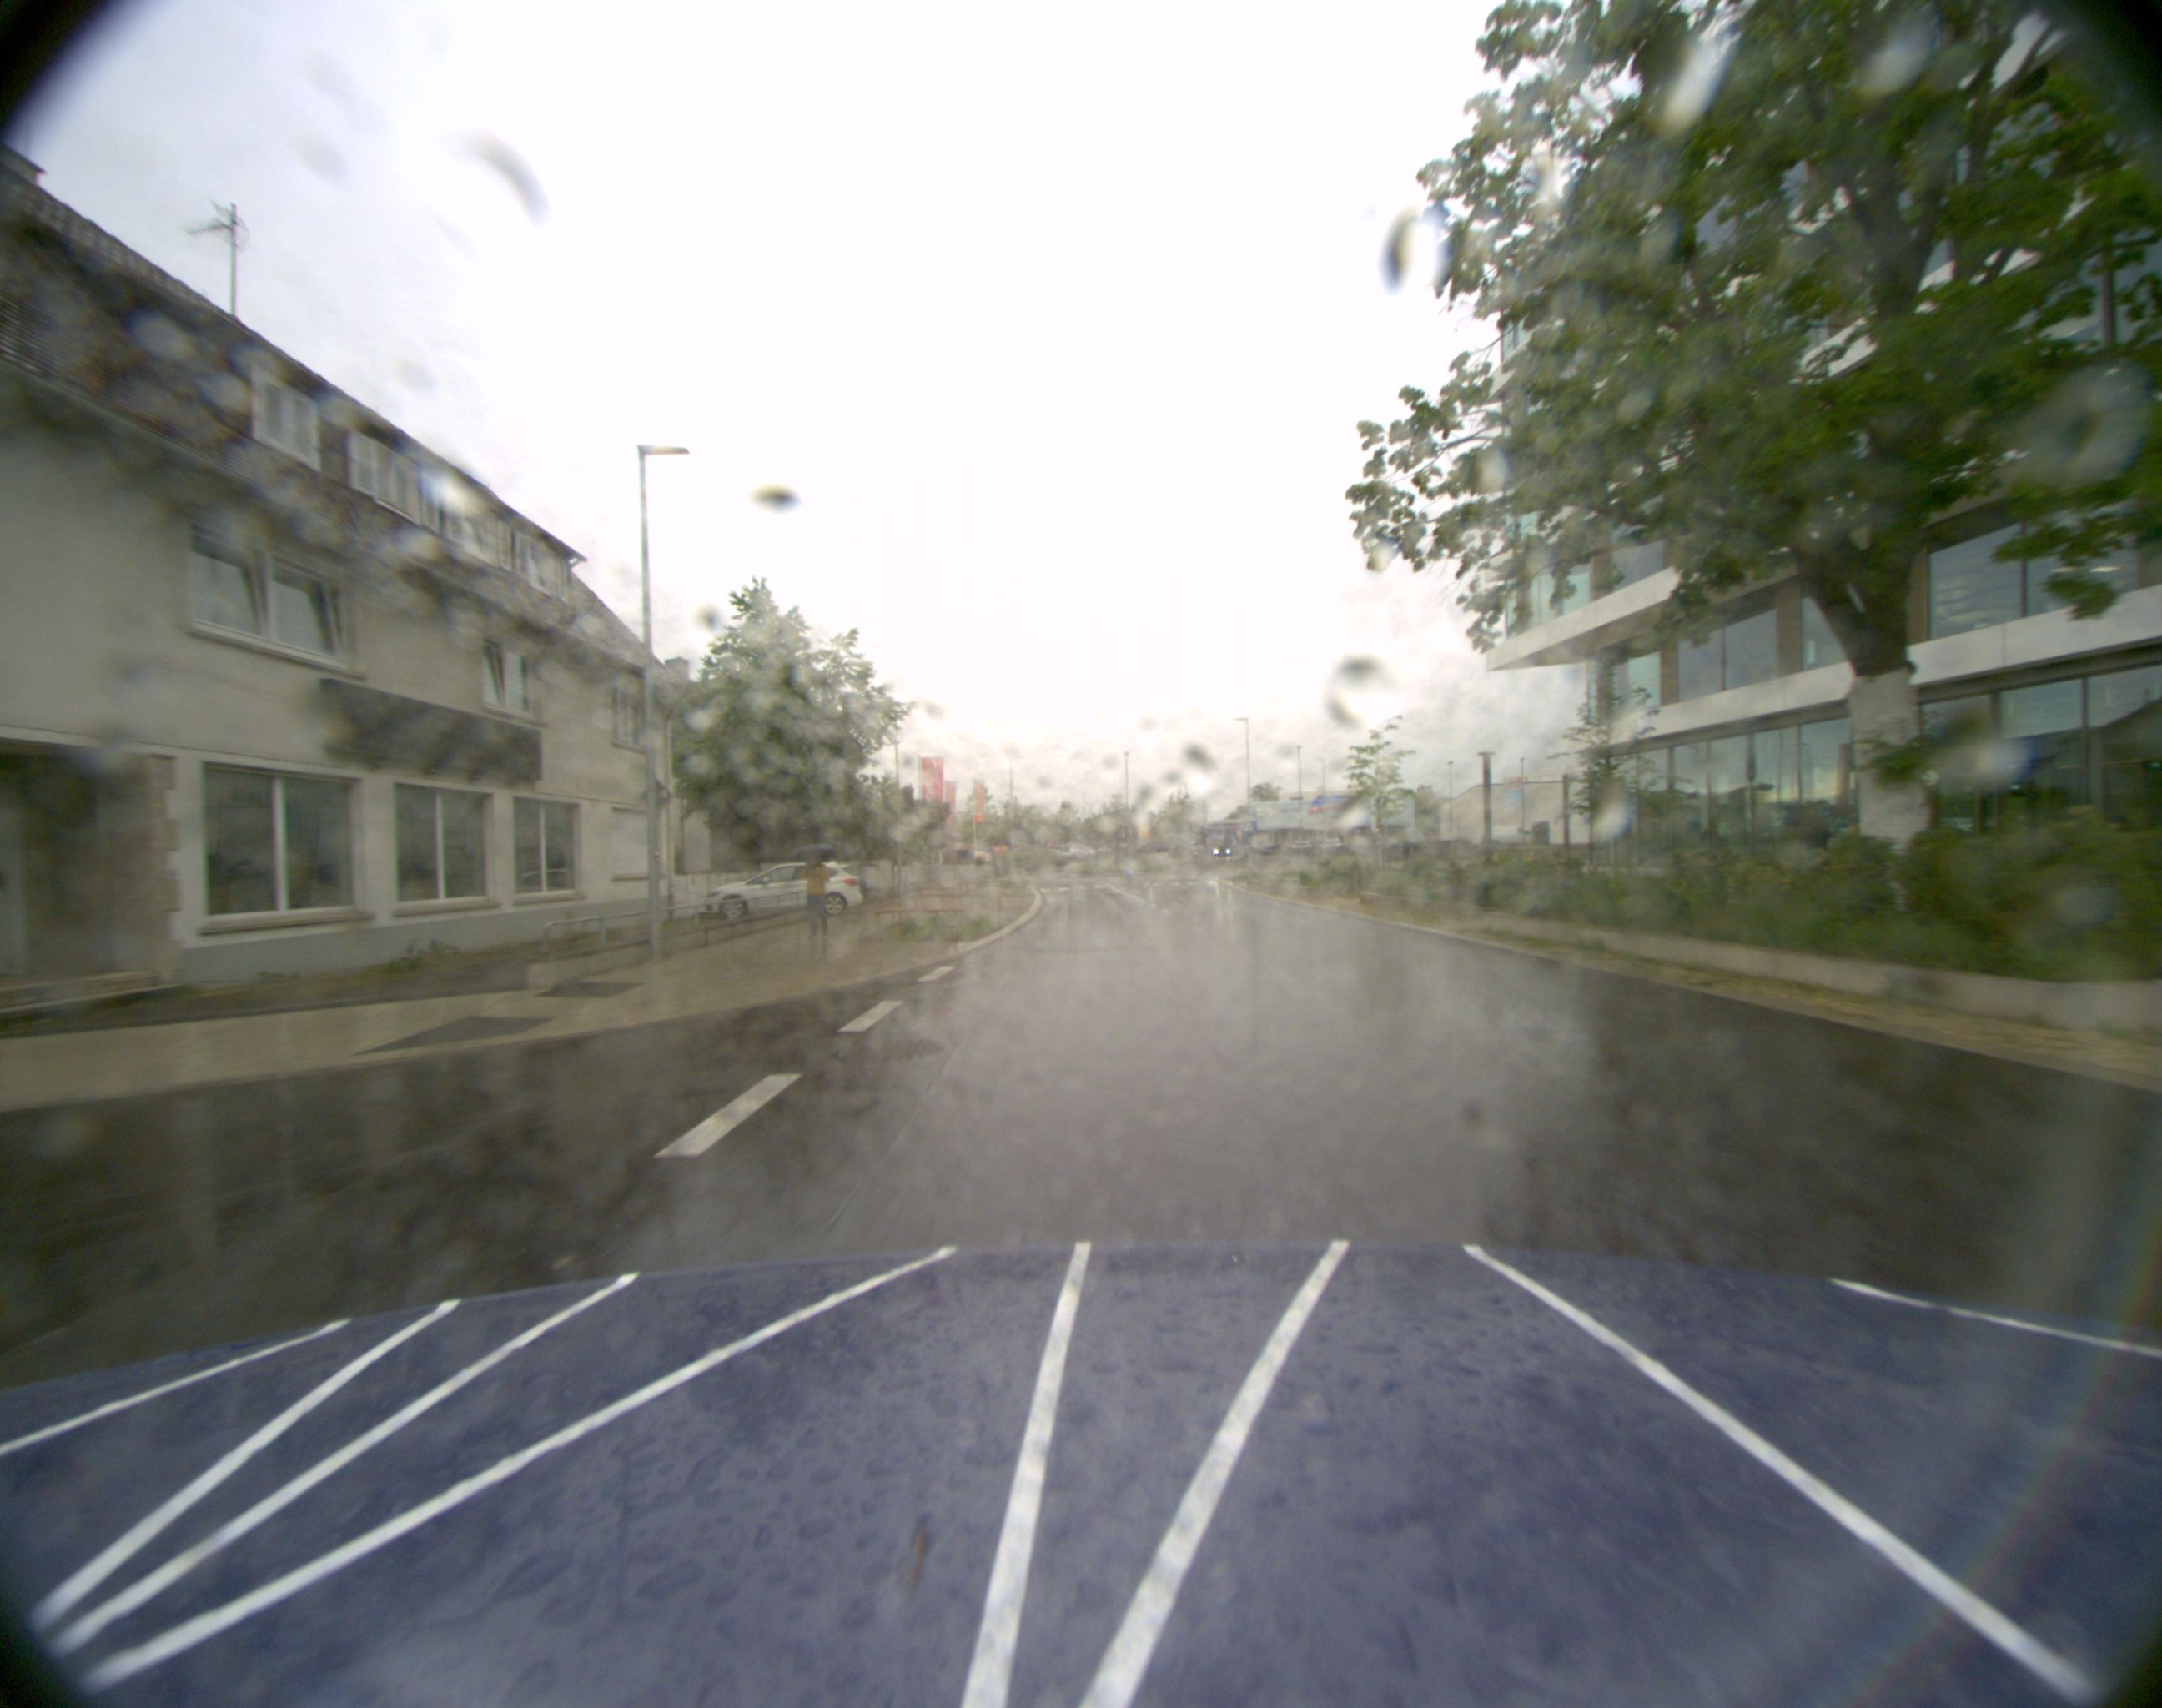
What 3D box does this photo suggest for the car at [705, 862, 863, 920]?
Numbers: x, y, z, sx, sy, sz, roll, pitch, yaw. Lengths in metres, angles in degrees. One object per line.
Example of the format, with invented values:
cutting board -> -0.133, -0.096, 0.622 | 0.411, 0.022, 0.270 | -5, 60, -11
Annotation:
car -> -8.528, 1.019, 22.241 | 4.145, 1.571, 1.997 | 0, 0, -16

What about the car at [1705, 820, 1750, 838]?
car -> 58.132, -2.229, 68.420 | 1.791, 1.543, 4.005 | -2, 0, 20

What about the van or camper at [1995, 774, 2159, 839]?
van or camper -> 54.360, -2.524, 41.618 | 5.091, 3.070, 2.003 | -4, 0, 19

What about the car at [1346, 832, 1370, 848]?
car -> 26.025, -1.330, 71.369 | 1.884, 1.288, 4.005 | -5, 0, 22

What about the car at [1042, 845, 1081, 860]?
car -> -2.335, -0.189, 91.118 | 4.096, 1.696, 2.003 | -2, 0, 25

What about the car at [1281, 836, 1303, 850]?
car -> 23.867, -1.266, 85.781 | 1.884, 1.477, 4.005 | -5, 0, 22

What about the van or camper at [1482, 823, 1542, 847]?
van or camper -> 38.668, -1.671, 68.269 | 4.372, 1.751, 1.890 | -5, 0, 22

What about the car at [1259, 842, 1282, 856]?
car -> 21.579, -0.596, 86.256 | 1.884, 1.288, 4.005 | -5, 0, 22

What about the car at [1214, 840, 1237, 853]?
car -> 18.827, -0.982, 98.974 | 1.917, 1.521, 4.006 | -4, 0, 24

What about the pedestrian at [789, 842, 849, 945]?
pedestrian -> -5.258, 0.770, 15.322 | 0.861, 2.002, 1.194 | 0, 0, -4

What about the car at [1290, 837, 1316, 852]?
car -> 21.274, -0.935, 72.805 | 1.884, 1.288, 4.005 | -5, 0, 22

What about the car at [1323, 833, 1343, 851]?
car -> 24.014, -1.137, 72.395 | 1.791, 1.543, 4.005 | -2, 0, 18

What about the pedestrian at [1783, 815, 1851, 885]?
pedestrian -> 18.733, -0.108, 19.350 | 0.726, 1.694, 0.956 | -5, 2, 1

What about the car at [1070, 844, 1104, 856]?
car -> 0.846, -0.514, 100.710 | 3.991, 1.433, 2.003 | -2, 0, 22

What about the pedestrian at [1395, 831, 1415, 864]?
pedestrian -> 20.505, -0.425, 48.093 | 0.892, 2.002, 0.932 | -2, 1, 5
